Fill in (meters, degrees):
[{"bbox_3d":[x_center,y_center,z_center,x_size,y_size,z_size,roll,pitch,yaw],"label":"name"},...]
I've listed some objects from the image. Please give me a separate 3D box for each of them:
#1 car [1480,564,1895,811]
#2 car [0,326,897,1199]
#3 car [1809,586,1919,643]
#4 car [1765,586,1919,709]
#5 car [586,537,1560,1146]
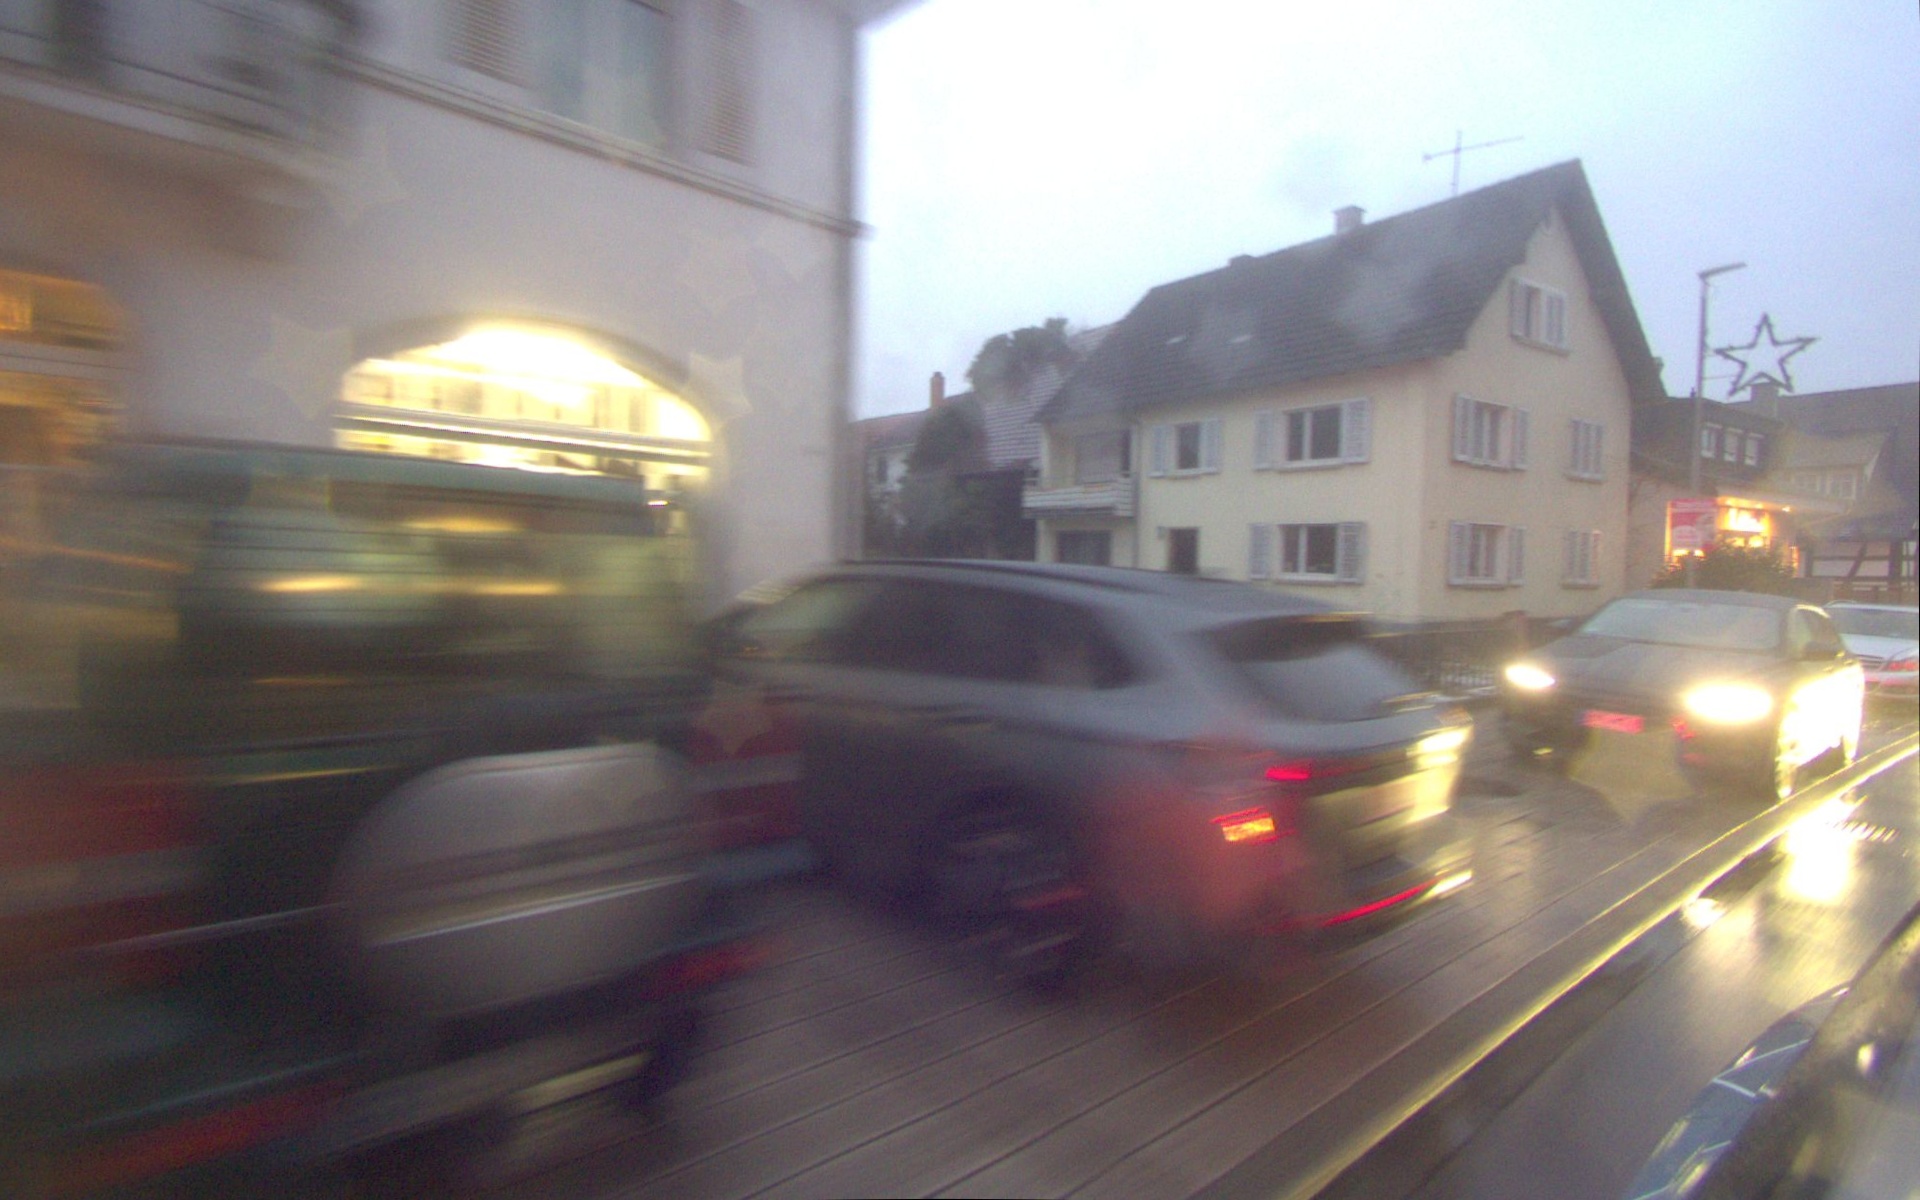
[{"bbox_3d":[6.535,0.564,8.874,4.589,1.566,1.887,0,3,-41],"label":"car"},{"bbox_3d":[-2.029,0.399,2.898,3.504,1.701,1.690,5,3,42],"label":"car"},{"bbox_3d":[27.922,0.437,30.424,1.655,1.458,3.303,0,6,-36],"label":"car"},{"bbox_3d":[13.508,0.602,14.705,4.448,1.478,1.800,0,4,-38],"label":"car"},{"bbox_3d":[0.064,0.525,4.862,1.866,1.491,4.473,0,3,-43],"label":"car"}]
